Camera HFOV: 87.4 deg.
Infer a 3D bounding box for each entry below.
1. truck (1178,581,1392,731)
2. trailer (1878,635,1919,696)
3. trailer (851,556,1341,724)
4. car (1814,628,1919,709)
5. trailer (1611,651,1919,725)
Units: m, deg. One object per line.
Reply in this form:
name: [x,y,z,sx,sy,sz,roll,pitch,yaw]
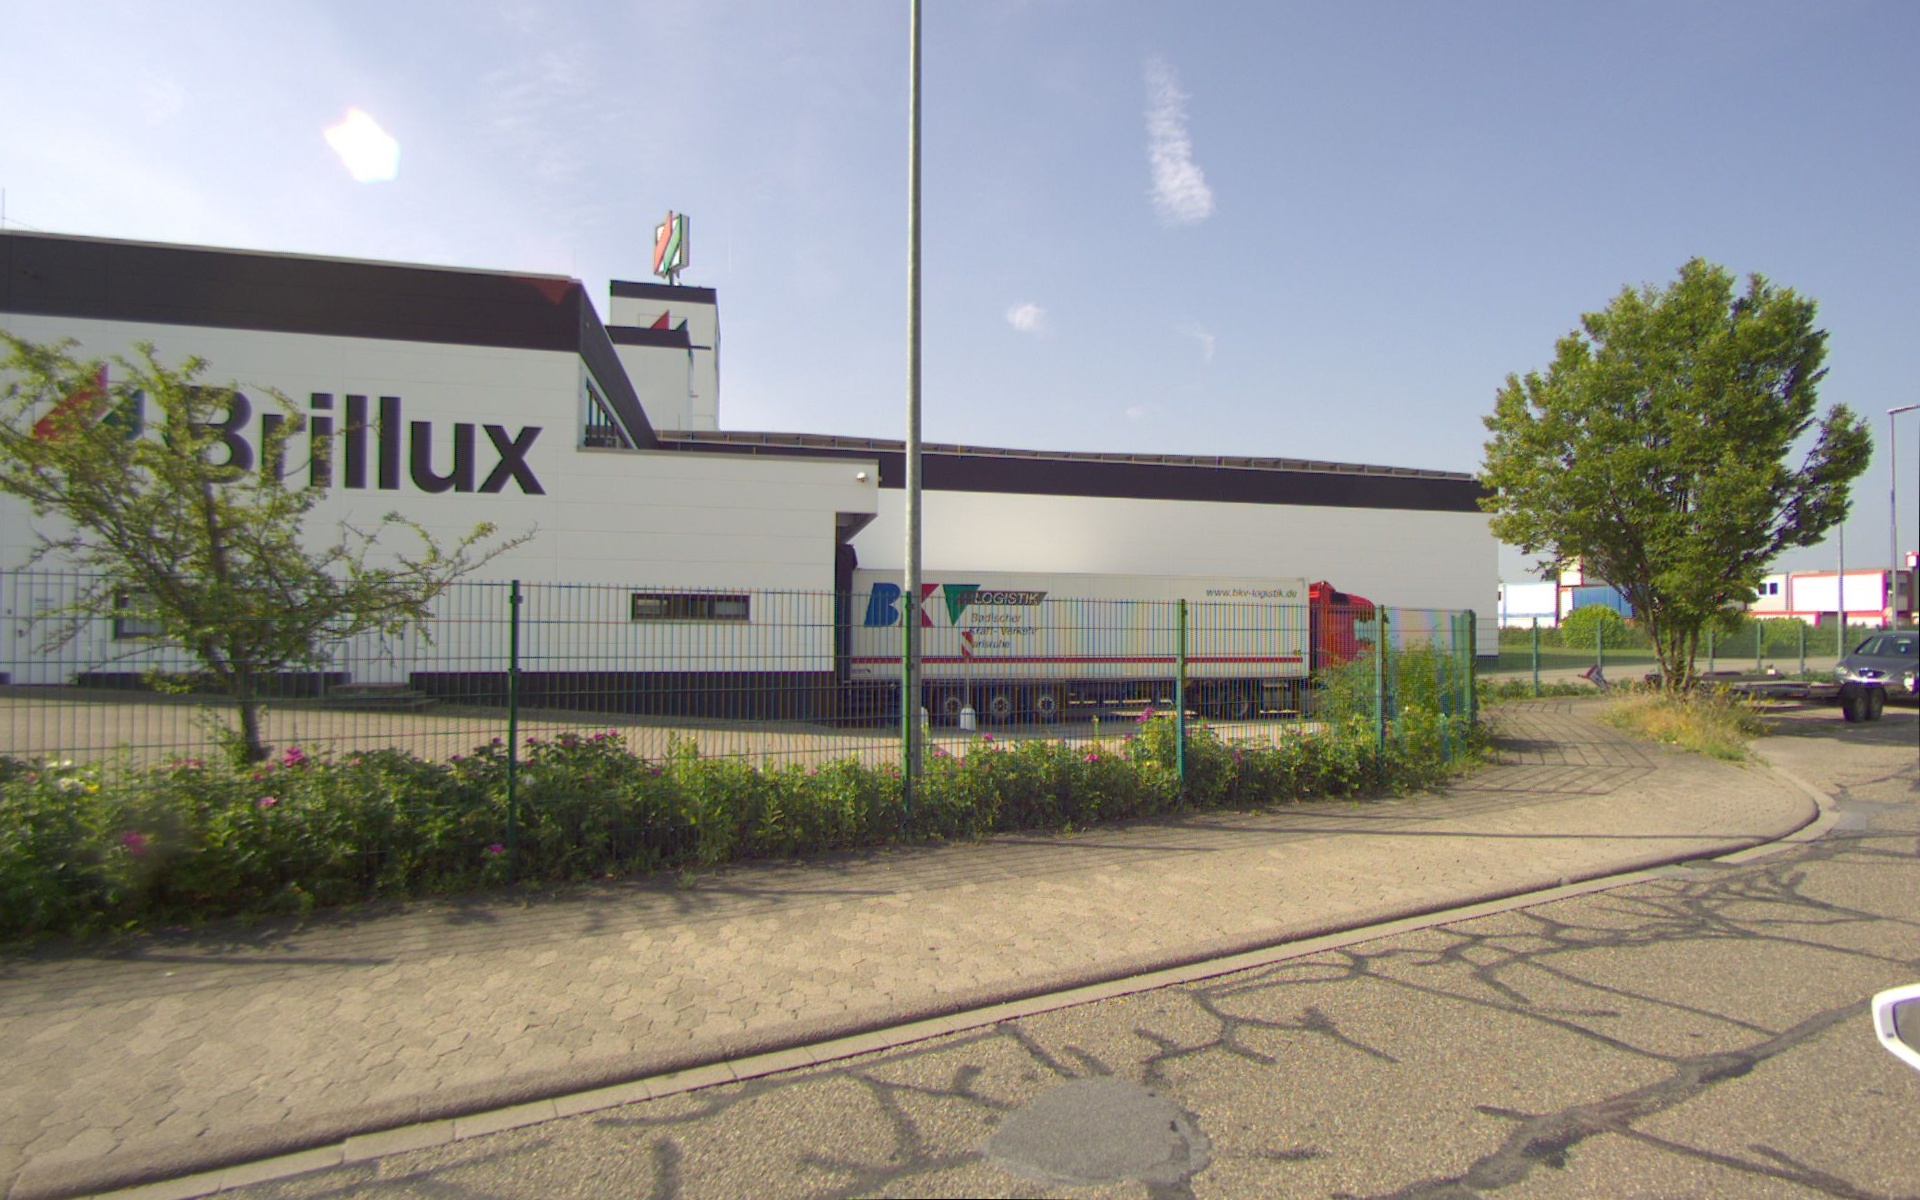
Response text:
truck: [9.593,1.642,29.825,5.450,4.125,2.514,2,0,-14]
trailer: [26.195,1.676,25.584,5.013,1.473,2.671,1,-1,-28]
trailer: [3.946,1.228,28.429,13.652,4.095,2.483,3,0,-14]
car: [20.983,1.461,22.286,4.283,1.582,1.688,1,1,-29]
trailer: [15.341,1.551,18.871,6.631,0.937,2.534,1,2,-31]
